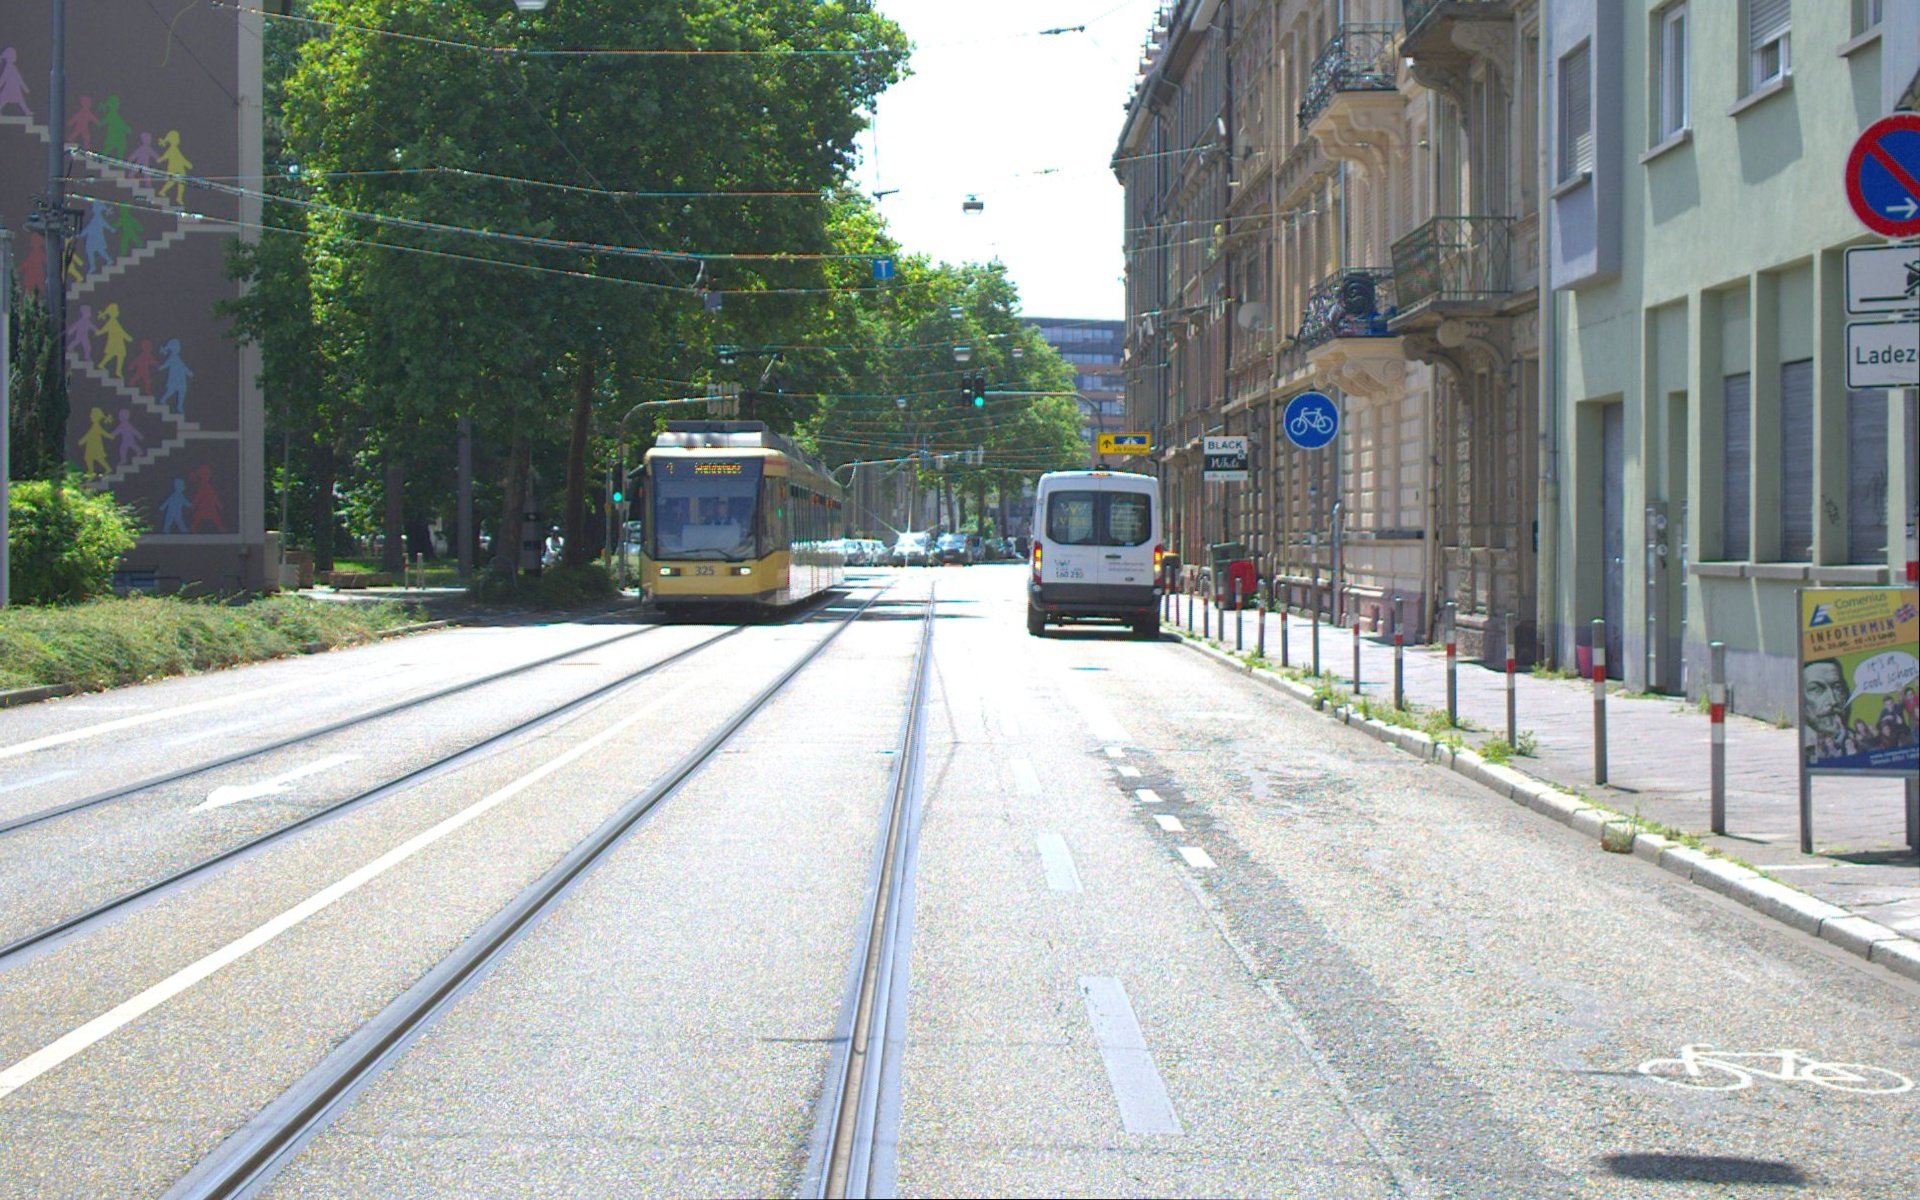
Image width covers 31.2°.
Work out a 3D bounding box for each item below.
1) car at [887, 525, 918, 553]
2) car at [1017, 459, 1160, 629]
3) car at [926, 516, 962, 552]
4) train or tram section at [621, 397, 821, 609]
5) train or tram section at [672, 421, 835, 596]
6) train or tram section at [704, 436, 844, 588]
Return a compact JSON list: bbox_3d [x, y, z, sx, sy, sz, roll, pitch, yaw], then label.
[{"bbox_3d":[-2.958,-3.131,176.198,1.528,1.404,3.490,1,1,-2],"label":"car"},{"bbox_3d":[1.952,-0.888,53.729,2.067,2.492,5.454,1,1,1],"label":"car"},{"bbox_3d":[-0.855,-3.501,182.836,1.673,1.853,4.001,1,1,-3],"label":"car"},{"bbox_3d":[-4.304,-1.786,64.696,2.960,3.568,13.424,0,1,-1],"label":"train or tram section"},{"bbox_3d":[-4.460,-2.017,76.835,2.960,3.568,13.424,0,1,-1],"label":"train or tram section"},{"bbox_3d":[-4.564,-2.211,87.080,2.960,3.568,13.424,0,1,-1],"label":"train or tram section"}]
